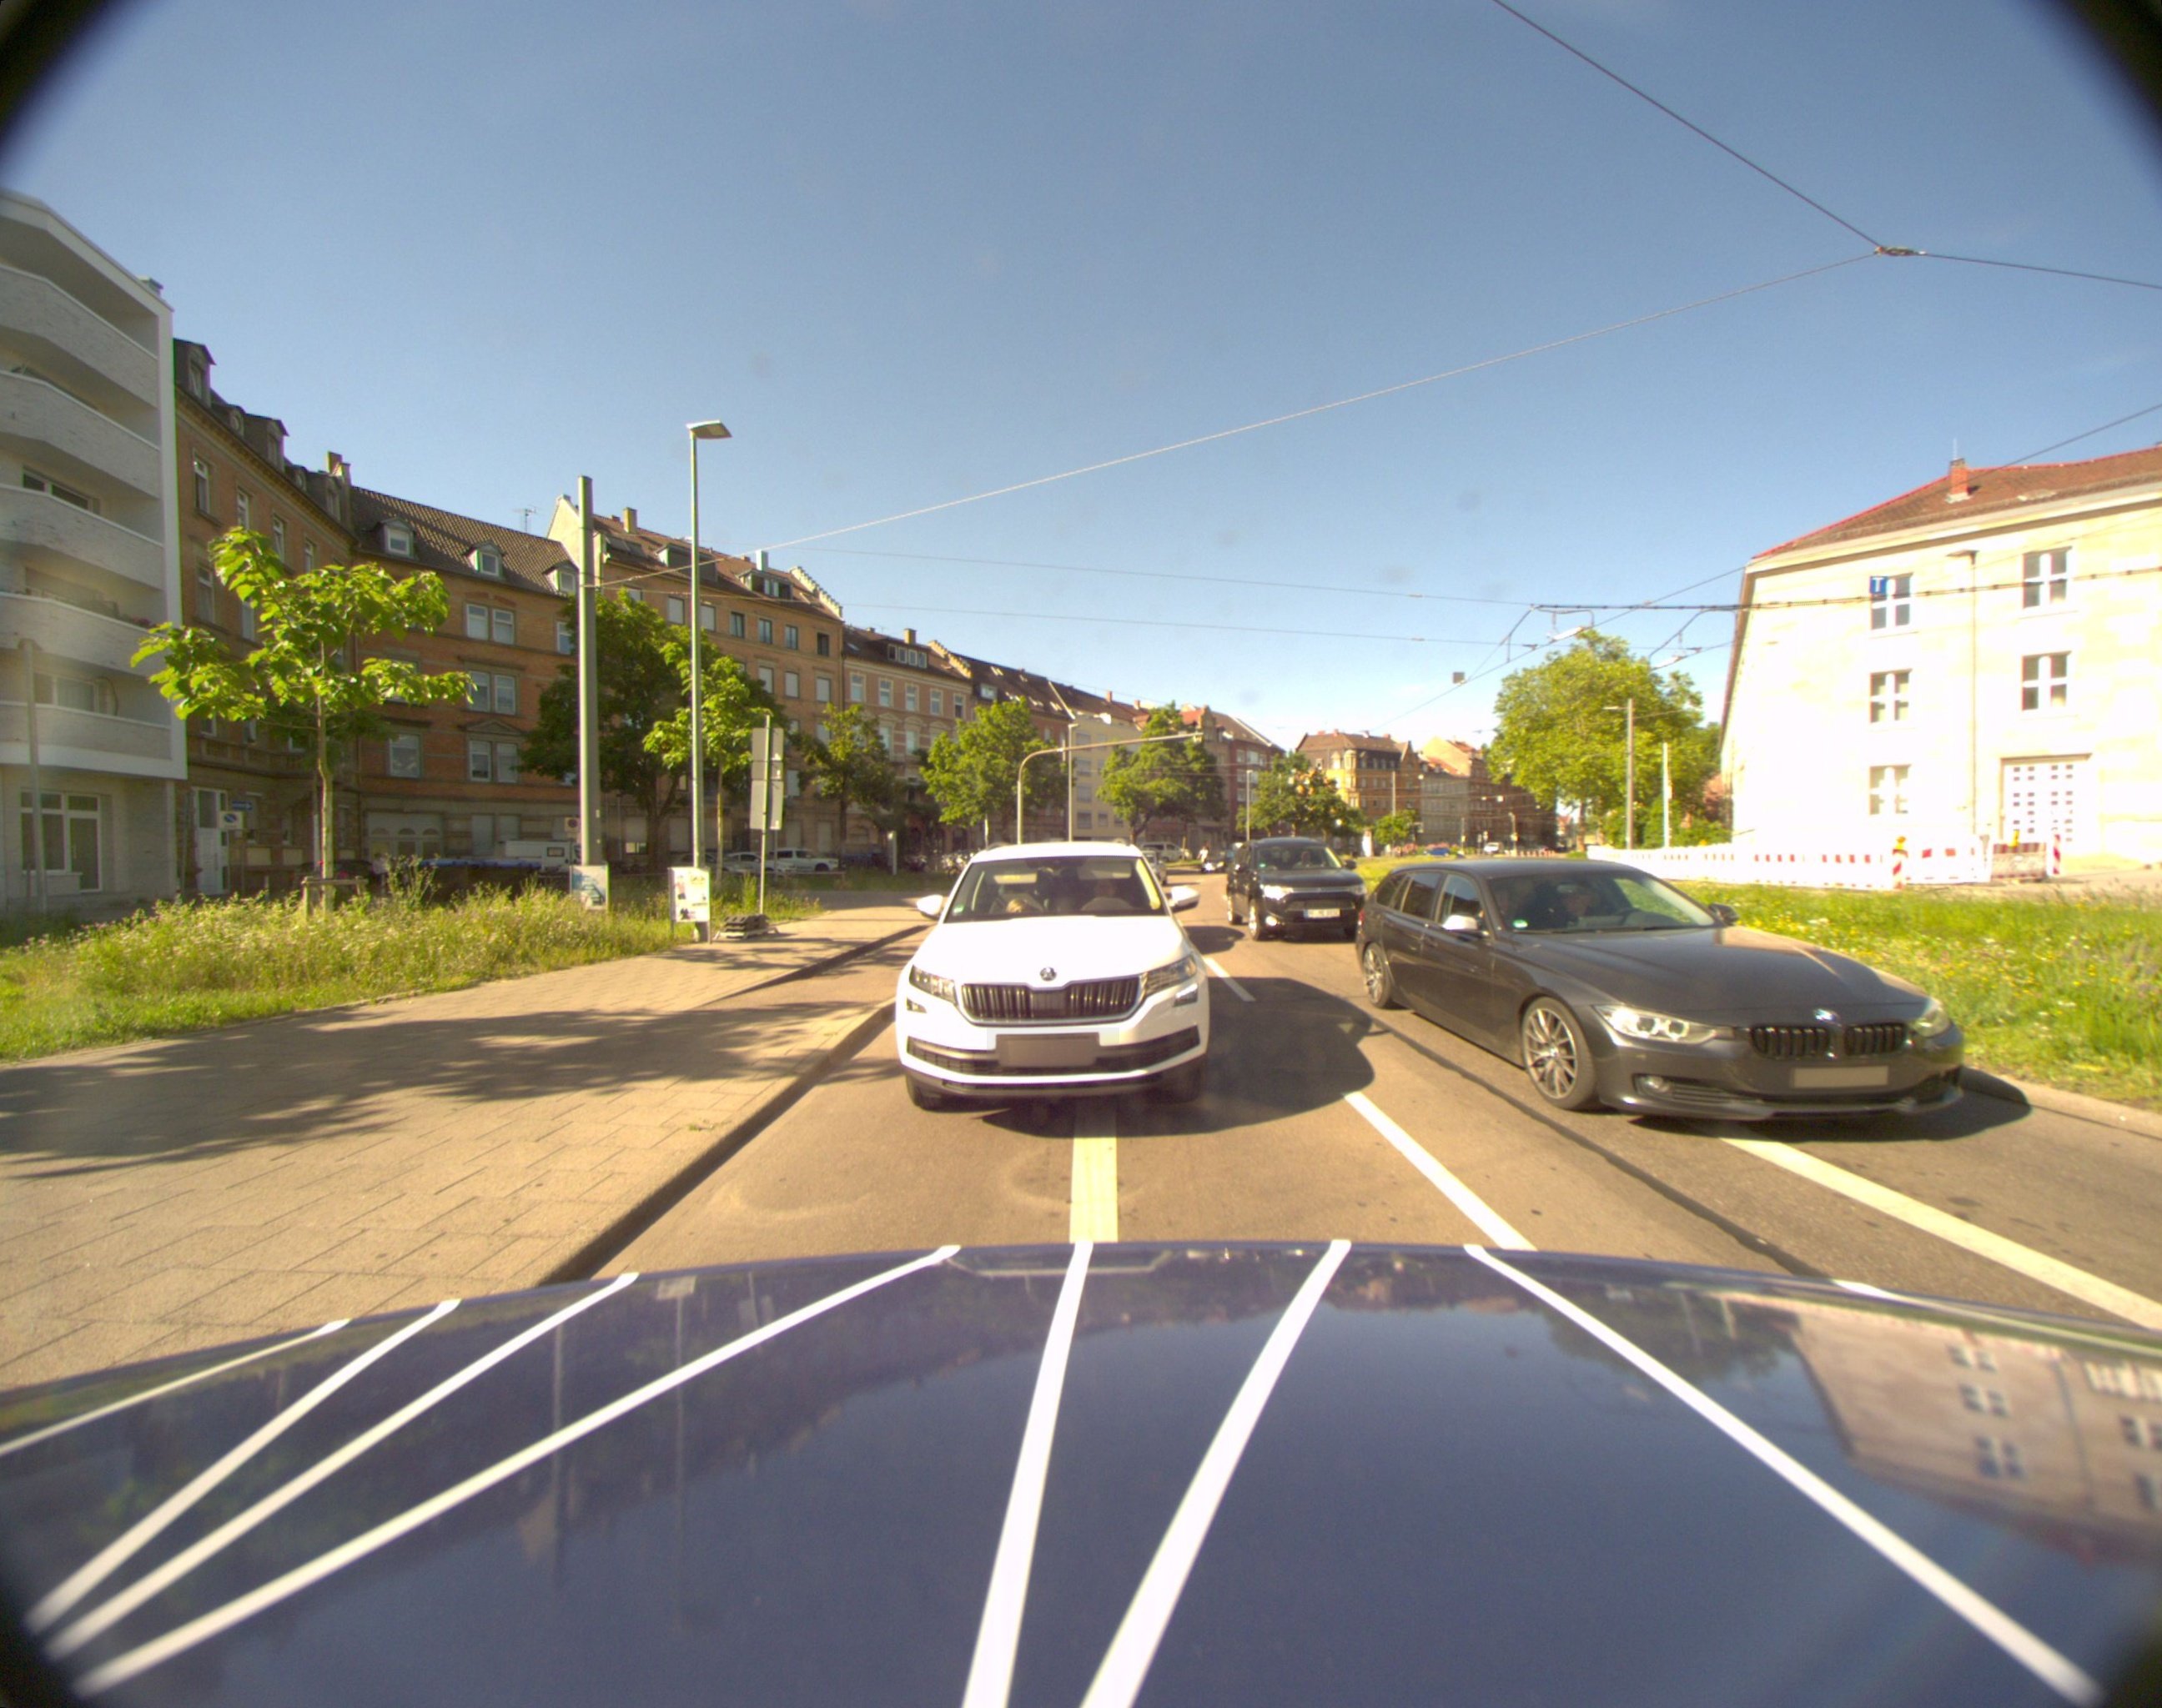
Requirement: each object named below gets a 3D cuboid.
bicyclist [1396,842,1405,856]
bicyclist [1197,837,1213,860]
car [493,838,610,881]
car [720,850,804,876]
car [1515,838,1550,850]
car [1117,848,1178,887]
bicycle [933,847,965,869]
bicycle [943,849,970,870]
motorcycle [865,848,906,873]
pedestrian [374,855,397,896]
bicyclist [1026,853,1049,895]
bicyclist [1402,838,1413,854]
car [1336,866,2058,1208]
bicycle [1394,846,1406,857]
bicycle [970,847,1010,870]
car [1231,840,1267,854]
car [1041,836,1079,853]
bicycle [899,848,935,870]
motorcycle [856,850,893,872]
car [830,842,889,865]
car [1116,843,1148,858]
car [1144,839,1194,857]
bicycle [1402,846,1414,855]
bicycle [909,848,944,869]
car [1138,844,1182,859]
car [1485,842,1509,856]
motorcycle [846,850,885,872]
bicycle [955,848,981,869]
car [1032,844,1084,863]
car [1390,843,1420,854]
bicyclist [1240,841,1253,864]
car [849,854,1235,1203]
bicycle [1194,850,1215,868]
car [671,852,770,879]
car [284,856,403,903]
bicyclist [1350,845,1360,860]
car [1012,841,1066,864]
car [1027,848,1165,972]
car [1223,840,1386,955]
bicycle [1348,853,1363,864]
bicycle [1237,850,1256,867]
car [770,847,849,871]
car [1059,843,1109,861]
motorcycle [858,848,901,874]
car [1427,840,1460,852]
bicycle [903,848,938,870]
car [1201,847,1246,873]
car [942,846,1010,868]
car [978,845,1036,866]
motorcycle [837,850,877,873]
[{"bbox_3d":[39.645,-0.614,94.378,0.734,1.685,0.973,0,1,44],"label":"bicyclist"},{"bbox_3d":[9.224,-0.390,56.420,0.714,1.715,1.096,1,1,38],"label":"bicyclist"},{"bbox_3d":[-27.114,0.220,39.008,2.047,2.026,4.510,1,2,41],"label":"car"},{"bbox_3d":[-16.404,0.444,39.103,3.696,1.244,1.683,0,1,13],"label":"car"},{"bbox_3d":[64.065,-1.436,107.826,4.058,1.647,1.770,1,2,34],"label":"car"},{"bbox_3d":[3.041,0.550,34.038,1.837,1.543,4.153,0,1,18],"label":"car"},{"bbox_3d":[-7.725,0.244,44.515,0.664,1.260,2.198,-3,1,-45],"label":"bicycle"},{"bbox_3d":[-7.681,0.345,46.756,0.664,1.260,2.199,-3,1,-36],"label":"bicycle"},{"bbox_3d":[-11.145,0.361,43.290,2.200,1.315,0.664,-2,1,18],"label":"motorcycle"},{"bbox_3d":[-25.201,0.770,27.537,0.509,1.448,0.481,-3,2,-38],"label":"pedestrian"},{"bbox_3d":[-1.523,0.702,26.745,0.668,1.428,0.940,-1,1,4],"label":"bicyclist"},{"bbox_3d":[42.433,-1.055,98.747,0.847,2.002,1.199,0,1,43],"label":"bicyclist"},{"bbox_3d":[3.480,0.853,5.590,1.741,1.359,4.426,-2,0,1],"label":"car"},{"bbox_3d":[39.632,-0.297,94.356,0.735,1.353,2.079,0,1,44],"label":"bicycle"},{"bbox_3d":[-5.472,0.272,45.736,2.207,1.260,0.662,-3,1,-25],"label":"bicycle"},{"bbox_3d":[18.701,-0.814,84.654,3.823,1.581,1.600,0,1,6],"label":"car"},{"bbox_3d":[-1.934,-0.937,71.662,1.547,1.578,3.607,1,2,41],"label":"car"},{"bbox_3d":[-9.739,0.311,45.067,2.198,1.260,0.664,-2,1,30],"label":"bicycle"},{"bbox_3d":[-12.598,0.405,46.401,2.199,1.260,0.664,-2,1,24],"label":"motorcycle"},{"bbox_3d":[-15.606,-0.052,53.668,1.547,1.578,3.709,1,2,41],"label":"car"},{"bbox_3d":[5.475,-0.417,80.723,1.547,1.578,3.607,1,2,41],"label":"car"},{"bbox_3d":[8.203,-0.583,70.605,4.578,1.658,1.600,0,1,7],"label":"car"},{"bbox_3d":[42.491,-0.431,98.786,0.762,1.138,2.287,0,1,41],"label":"bicycle"},{"bbox_3d":[-9.506,0.283,46.708,2.198,1.260,0.664,-2,1,32],"label":"bicycle"},{"bbox_3d":[7.131,-0.243,68.175,3.823,1.372,1.600,0,1,9],"label":"car"},{"bbox_3d":[64.594,-0.810,117.974,1.977,2.074,4.723,1,2,44],"label":"car"},{"bbox_3d":[-12.936,0.419,45.622,2.314,1.276,0.664,-2,1,24],"label":"motorcycle"},{"bbox_3d":[-7.119,0.312,47.750,0.664,1.260,2.199,-3,1,-36],"label":"bicycle"},{"bbox_3d":[-1.771,-0.049,58.709,3.823,1.398,1.600,0,1,6],"label":"car"},{"bbox_3d":[50.211,-0.849,117.831,4.058,1.647,1.770,1,2,36],"label":"car"},{"bbox_3d":[13.751,-0.138,63.161,0.808,1.855,0.751,1,3,35],"label":"bicyclist"},{"bbox_3d":[-0.226,0.858,5.946,1.842,1.636,4.397,-2,0,-1],"label":"car"},{"bbox_3d":[9.178,0.398,56.403,0.714,1.319,1.753,1,1,38],"label":"bicycle"},{"bbox_3d":[-17.496,0.537,36.904,4.156,1.244,1.683,0,1,13],"label":"car"},{"bbox_3d":[-26.165,0.832,27.146,1.835,1.419,4.378,-1,1,-27],"label":"car"},{"bbox_3d":[29.805,-0.131,82.665,0.667,1.619,0.973,0,1,45],"label":"bicyclist"},{"bbox_3d":[-3.103,-0.132,56.100,3.825,1.698,1.682,0,1,3],"label":"car"},{"bbox_3d":[0.237,0.766,12.627,1.842,1.636,4.397,-2,0,1],"label":"car"},{"bbox_3d":[3.699,0.630,13.394,1.841,1.636,4.399,-2,0,5],"label":"car"},{"bbox_3d":[29.891,0.454,82.772,0.667,1.190,2.159,0,1,45],"label":"bicycle"},{"bbox_3d":[13.785,0.361,63.192,0.756,1.293,2.158,0,2,35],"label":"bicycle"},{"bbox_3d":[-14.677,0.260,41.192,3.700,1.244,1.540,0,1,2],"label":"car"},{"bbox_3d":[0.265,-0.155,61.161,3.823,1.398,1.600,0,1,6],"label":"car"},{"bbox_3d":[-11.175,0.379,42.204,2.200,1.322,0.663,-2,1,13],"label":"motorcycle"},{"bbox_3d":[55.902,-1.188,117.148,4.341,1.871,1.842,0,1,14],"label":"car"},{"bbox_3d":[-9.703,0.299,46.005,2.198,1.260,0.664,-2,1,32],"label":"bicycle"},{"bbox_3d":[9.674,0.378,51.446,1.836,1.637,4.155,0,1,27],"label":"car"},{"bbox_3d":[-7.039,0.179,51.292,4.322,1.398,1.682,0,1,3],"label":"car"},{"bbox_3d":[-5.223,0.091,53.961,3.822,1.398,1.683,0,1,9],"label":"car"},{"bbox_3d":[-13.285,0.442,45.016,2.314,1.270,0.664,-2,1,24],"label":"motorcycle"}]
